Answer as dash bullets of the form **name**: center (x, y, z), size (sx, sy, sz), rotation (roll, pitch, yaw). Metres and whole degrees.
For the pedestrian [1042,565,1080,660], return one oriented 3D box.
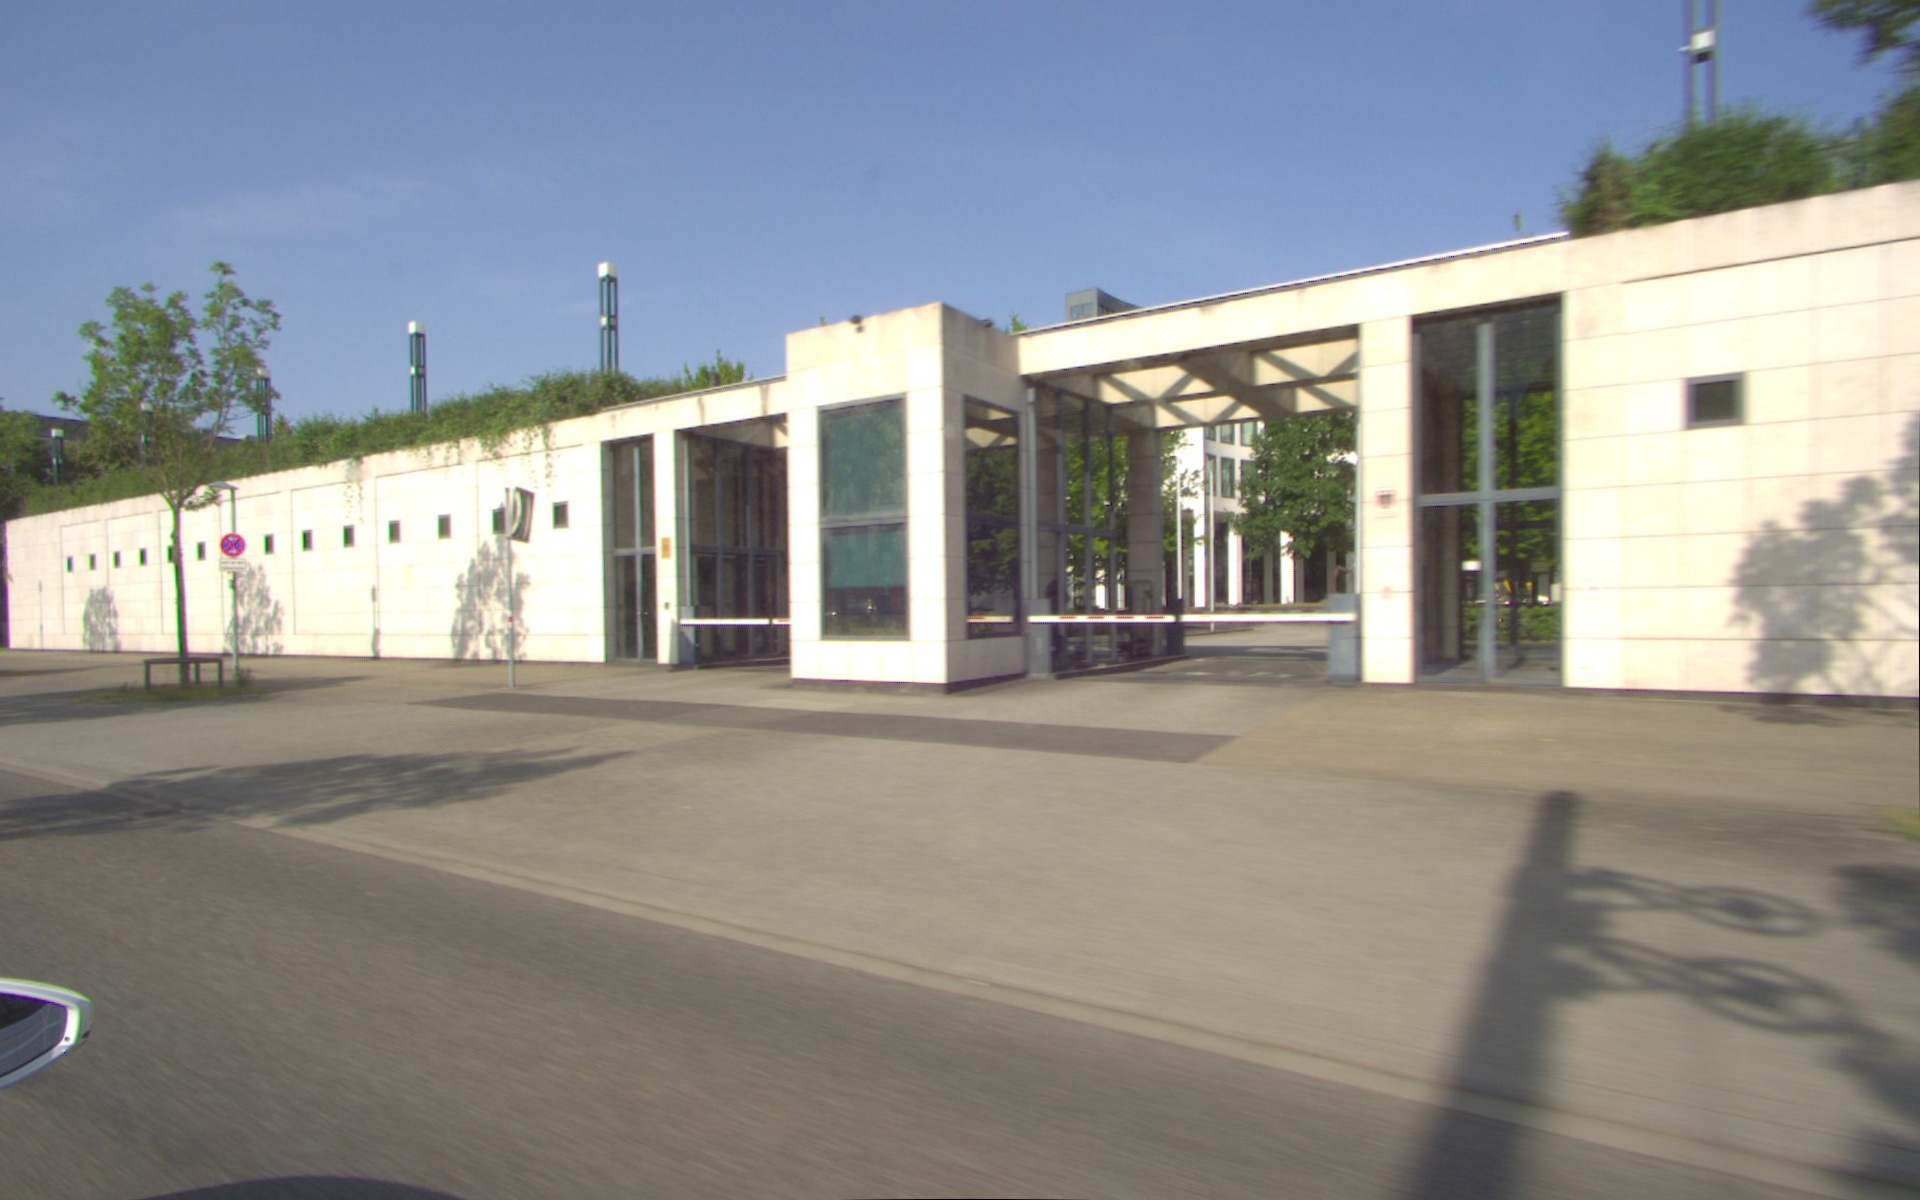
- **pedestrian**: center (2.056, 0.259, 20.446), size (0.583, 1.896, 0.557), rotation (-2, -1, -11)
